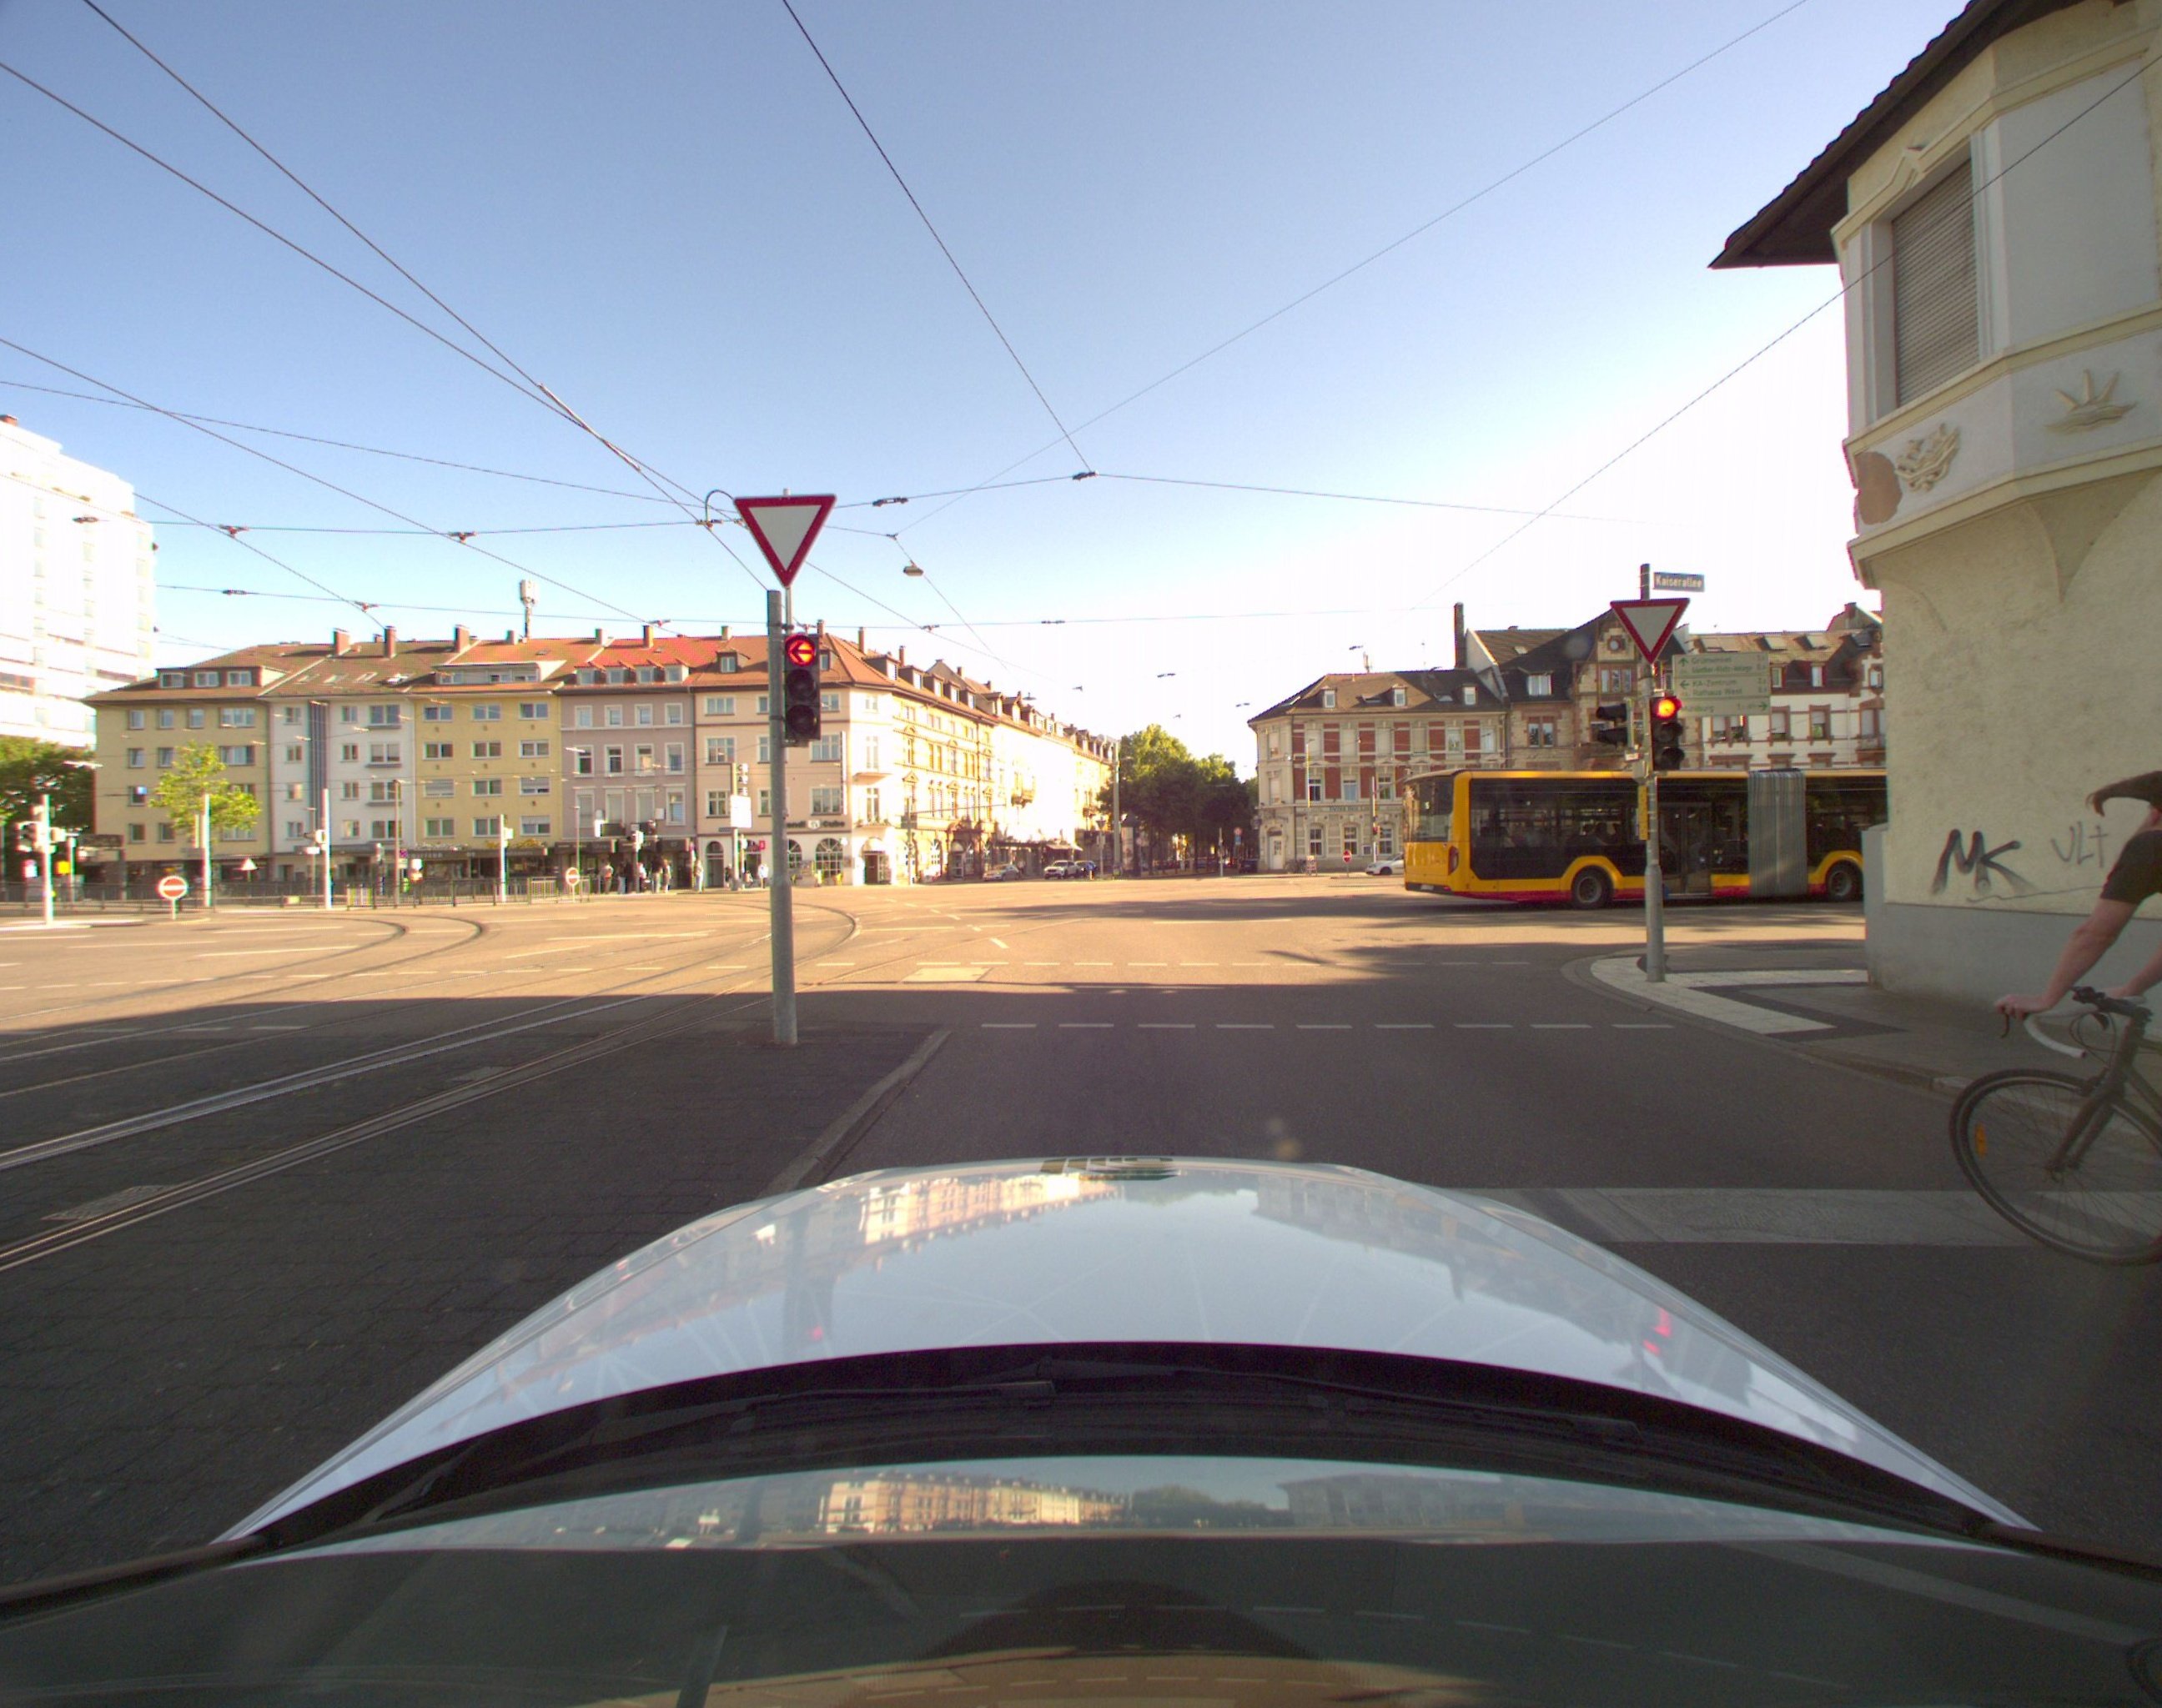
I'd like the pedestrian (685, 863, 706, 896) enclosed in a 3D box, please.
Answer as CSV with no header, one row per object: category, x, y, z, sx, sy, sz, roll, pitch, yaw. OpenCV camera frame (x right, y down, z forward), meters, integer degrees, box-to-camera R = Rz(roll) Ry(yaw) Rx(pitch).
pedestrian,-20.003,1.307,42.265,0.738,1.682,0.628,-1,0,1

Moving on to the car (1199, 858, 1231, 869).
car,17.337,1.229,105.168,3.959,1.288,1.700,-1,0,13

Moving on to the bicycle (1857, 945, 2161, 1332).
bicycle,3.564,0.921,2.508,0.568,1.058,1.890,-1,0,2

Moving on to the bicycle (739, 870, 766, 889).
bicycle,-23.144,1.766,57.335,1.714,1.276,0.385,-1,0,-16

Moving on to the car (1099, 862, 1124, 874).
car,3.833,1.714,102.181,1.977,1.404,4.189,-1,0,18

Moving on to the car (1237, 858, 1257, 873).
car,16.801,1.135,82.300,1.742,1.420,4.016,-1,0,14

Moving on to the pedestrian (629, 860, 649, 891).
pedestrian,-22.918,1.090,42.207,0.697,1.581,0.559,-1,0,-4

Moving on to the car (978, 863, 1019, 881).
car,-6.757,1.478,67.368,1.977,1.361,3.836,-1,0,18

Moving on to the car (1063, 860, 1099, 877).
car,0.033,1.313,73.812,1.977,1.404,4.189,-1,0,18

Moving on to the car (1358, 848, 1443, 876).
car,17.738,0.445,45.386,4.013,1.423,1.886,-1,0,1

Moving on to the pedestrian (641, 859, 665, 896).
pedestrian,-21.565,1.180,41.021,0.764,1.829,0.723,-1,0,1

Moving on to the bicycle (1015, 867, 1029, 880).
bicycle,-4.760,1.533,65.574,0.650,1.000,1.671,-1,-1,14

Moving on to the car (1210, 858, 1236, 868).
car,19.381,1.217,111.196,3.409,1.239,1.582,-1,0,13

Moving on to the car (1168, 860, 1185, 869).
car,16.029,1.741,136.425,1.977,1.404,4.189,-1,0,18

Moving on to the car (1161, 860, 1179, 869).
car,14.330,1.712,131.266,1.977,1.404,4.189,-1,0,18

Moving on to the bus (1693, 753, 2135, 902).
bus,21.144,-0.661,20.888,9.400,3.457,2.774,0,1,-7

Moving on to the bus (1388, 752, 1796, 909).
bus,12.241,-0.564,19.852,8.603,3.457,2.781,0,1,-6

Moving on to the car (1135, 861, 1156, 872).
car,9.246,1.816,116.829,1.977,1.404,4.189,-1,0,18

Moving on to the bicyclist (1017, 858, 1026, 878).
bicyclist,-4.766,1.095,65.476,0.486,1.601,0.668,-1,0,12

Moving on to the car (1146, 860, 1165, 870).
car,11.200,1.692,122.507,1.977,1.404,4.189,-1,0,18

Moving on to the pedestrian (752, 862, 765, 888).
pedestrian,-21.598,1.409,54.586,0.744,1.682,0.623,-1,0,-23

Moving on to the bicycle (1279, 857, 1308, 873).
bicycle,14.915,0.753,57.146,1.940,1.054,0.717,-1,0,11

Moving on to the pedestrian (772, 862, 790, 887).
pedestrian,-20.479,1.405,55.576,0.907,1.682,0.742,-1,0,-4

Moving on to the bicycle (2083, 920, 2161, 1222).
bicycle,4.508,0.861,2.494,0.568,1.165,1.890,-1,0,2

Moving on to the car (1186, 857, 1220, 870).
car,14.963,1.159,99.514,3.959,1.454,1.687,-1,0,13

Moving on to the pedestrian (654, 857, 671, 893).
pedestrian,-21.619,1.080,42.051,0.559,1.786,0.559,-1,0,-4

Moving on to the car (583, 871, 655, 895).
car,-30.343,1.899,53.539,3.711,1.491,1.820,0,-1,4

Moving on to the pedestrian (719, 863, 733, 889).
pedestrian,-23.072,1.409,52.936,0.744,1.682,0.623,-1,0,-23

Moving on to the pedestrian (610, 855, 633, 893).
pedestrian,-22.998,0.983,40.753,0.625,1.850,0.778,-1,0,1

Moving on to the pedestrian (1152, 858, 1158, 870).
pedestrian,8.922,1.173,98.159,0.542,1.385,0.628,-1,0,18

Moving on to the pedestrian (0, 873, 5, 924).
pedestrian,-34.930,1.438,25.741,0.770,1.611,0.794,-1,0,-5

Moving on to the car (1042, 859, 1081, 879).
car,-1.588,1.219,67.675,1.977,1.516,4.189,-1,0,18

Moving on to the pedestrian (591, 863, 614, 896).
pedestrian,-24.902,1.306,42.384,0.764,1.682,0.628,-1,0,1

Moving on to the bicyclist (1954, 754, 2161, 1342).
bicyclist,3.563,0.579,2.506,0.649,1.767,0.995,-1,0,2
